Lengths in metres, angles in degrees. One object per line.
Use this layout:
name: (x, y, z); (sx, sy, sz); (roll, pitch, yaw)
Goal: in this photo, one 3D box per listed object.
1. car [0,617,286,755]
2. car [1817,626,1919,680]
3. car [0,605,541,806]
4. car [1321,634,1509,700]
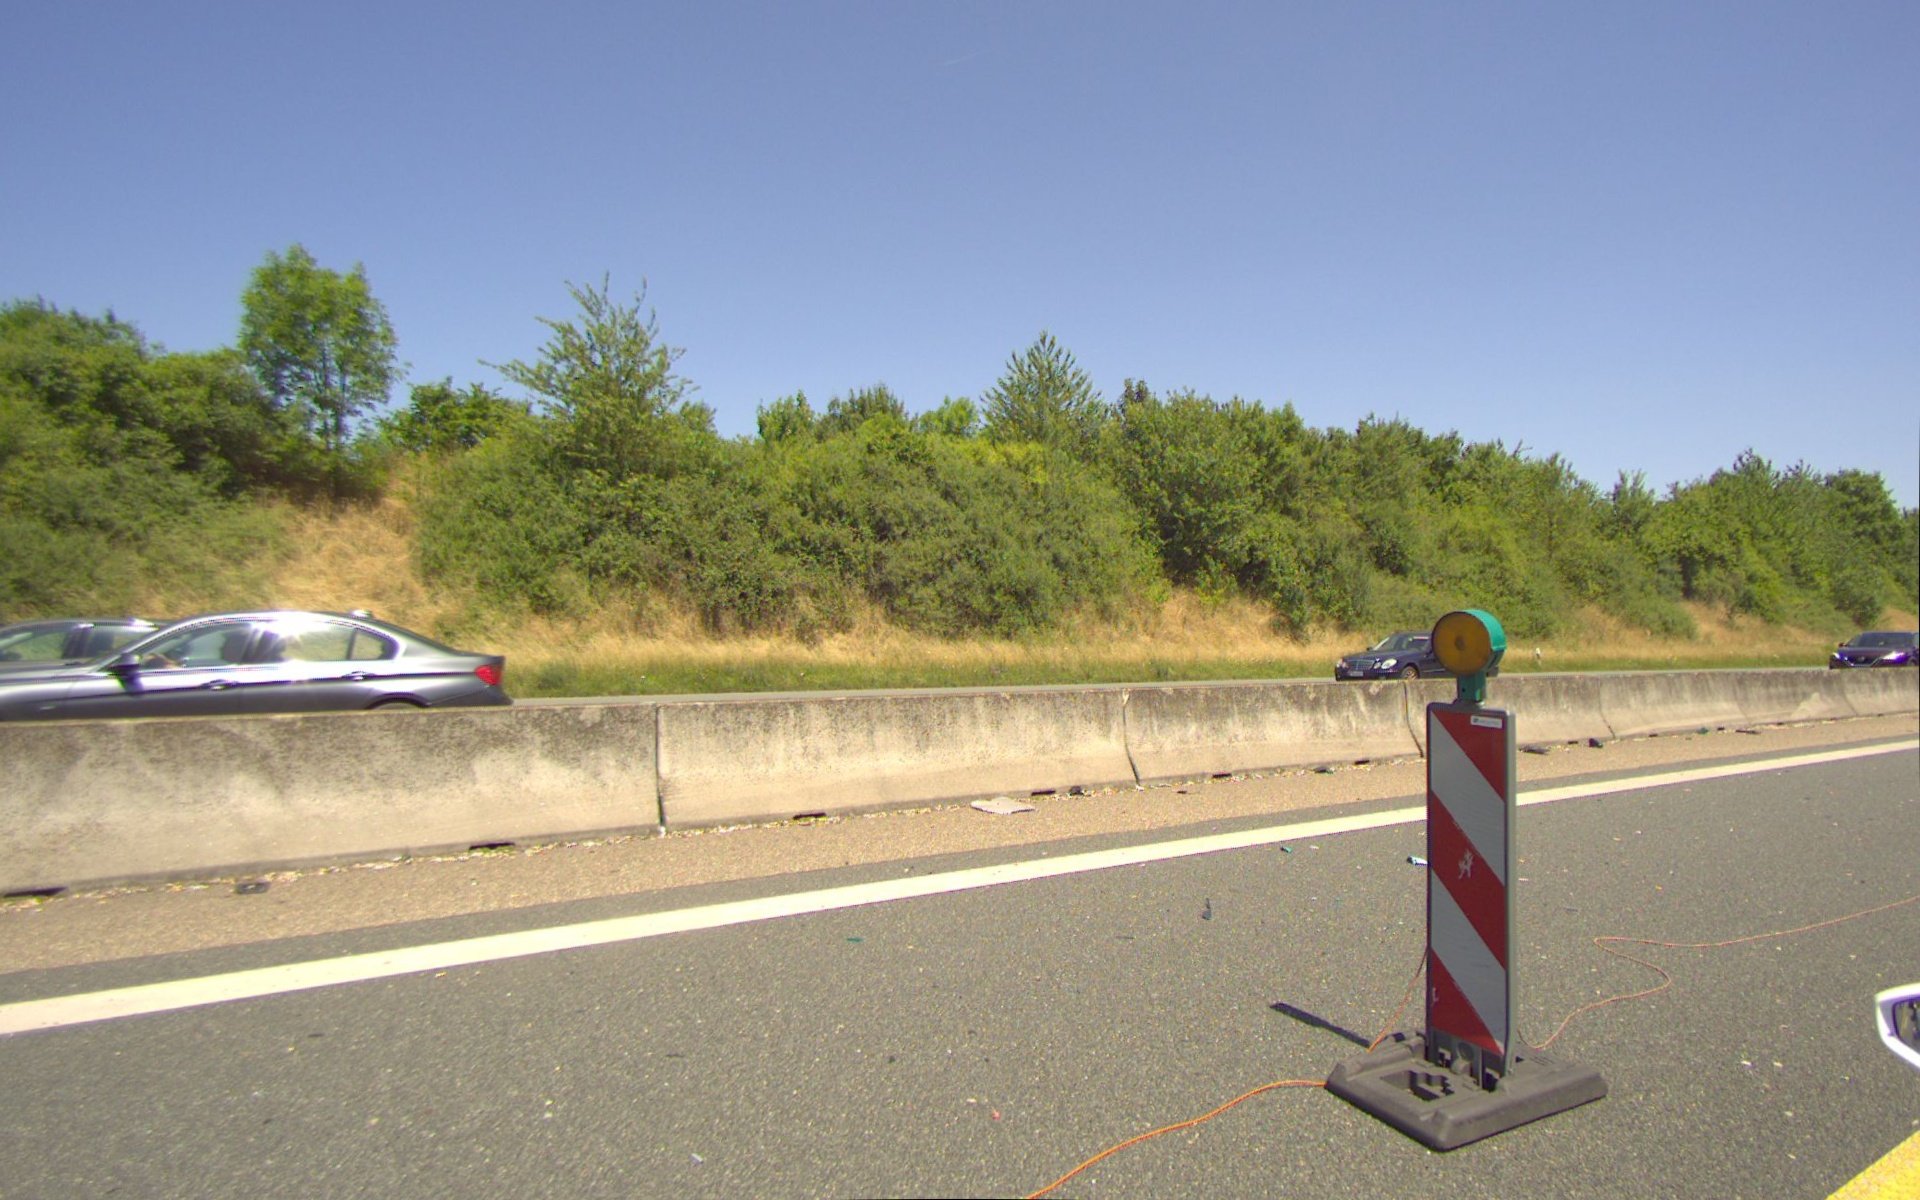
car: (-9.959, 0.903, 11.149); (4.046, 1.415, 1.494); (2, -2, -34)
car: (27.503, 1.543, 29.847); (4.439, 1.480, 1.839); (2, -2, -32)
car: (-5.953, 0.815, 8.870); (3.946, 1.461, 1.607); (2, -2, -33)
car: (11.318, 1.604, 24.936); (4.532, 1.480, 1.985); (1, -2, -30)
